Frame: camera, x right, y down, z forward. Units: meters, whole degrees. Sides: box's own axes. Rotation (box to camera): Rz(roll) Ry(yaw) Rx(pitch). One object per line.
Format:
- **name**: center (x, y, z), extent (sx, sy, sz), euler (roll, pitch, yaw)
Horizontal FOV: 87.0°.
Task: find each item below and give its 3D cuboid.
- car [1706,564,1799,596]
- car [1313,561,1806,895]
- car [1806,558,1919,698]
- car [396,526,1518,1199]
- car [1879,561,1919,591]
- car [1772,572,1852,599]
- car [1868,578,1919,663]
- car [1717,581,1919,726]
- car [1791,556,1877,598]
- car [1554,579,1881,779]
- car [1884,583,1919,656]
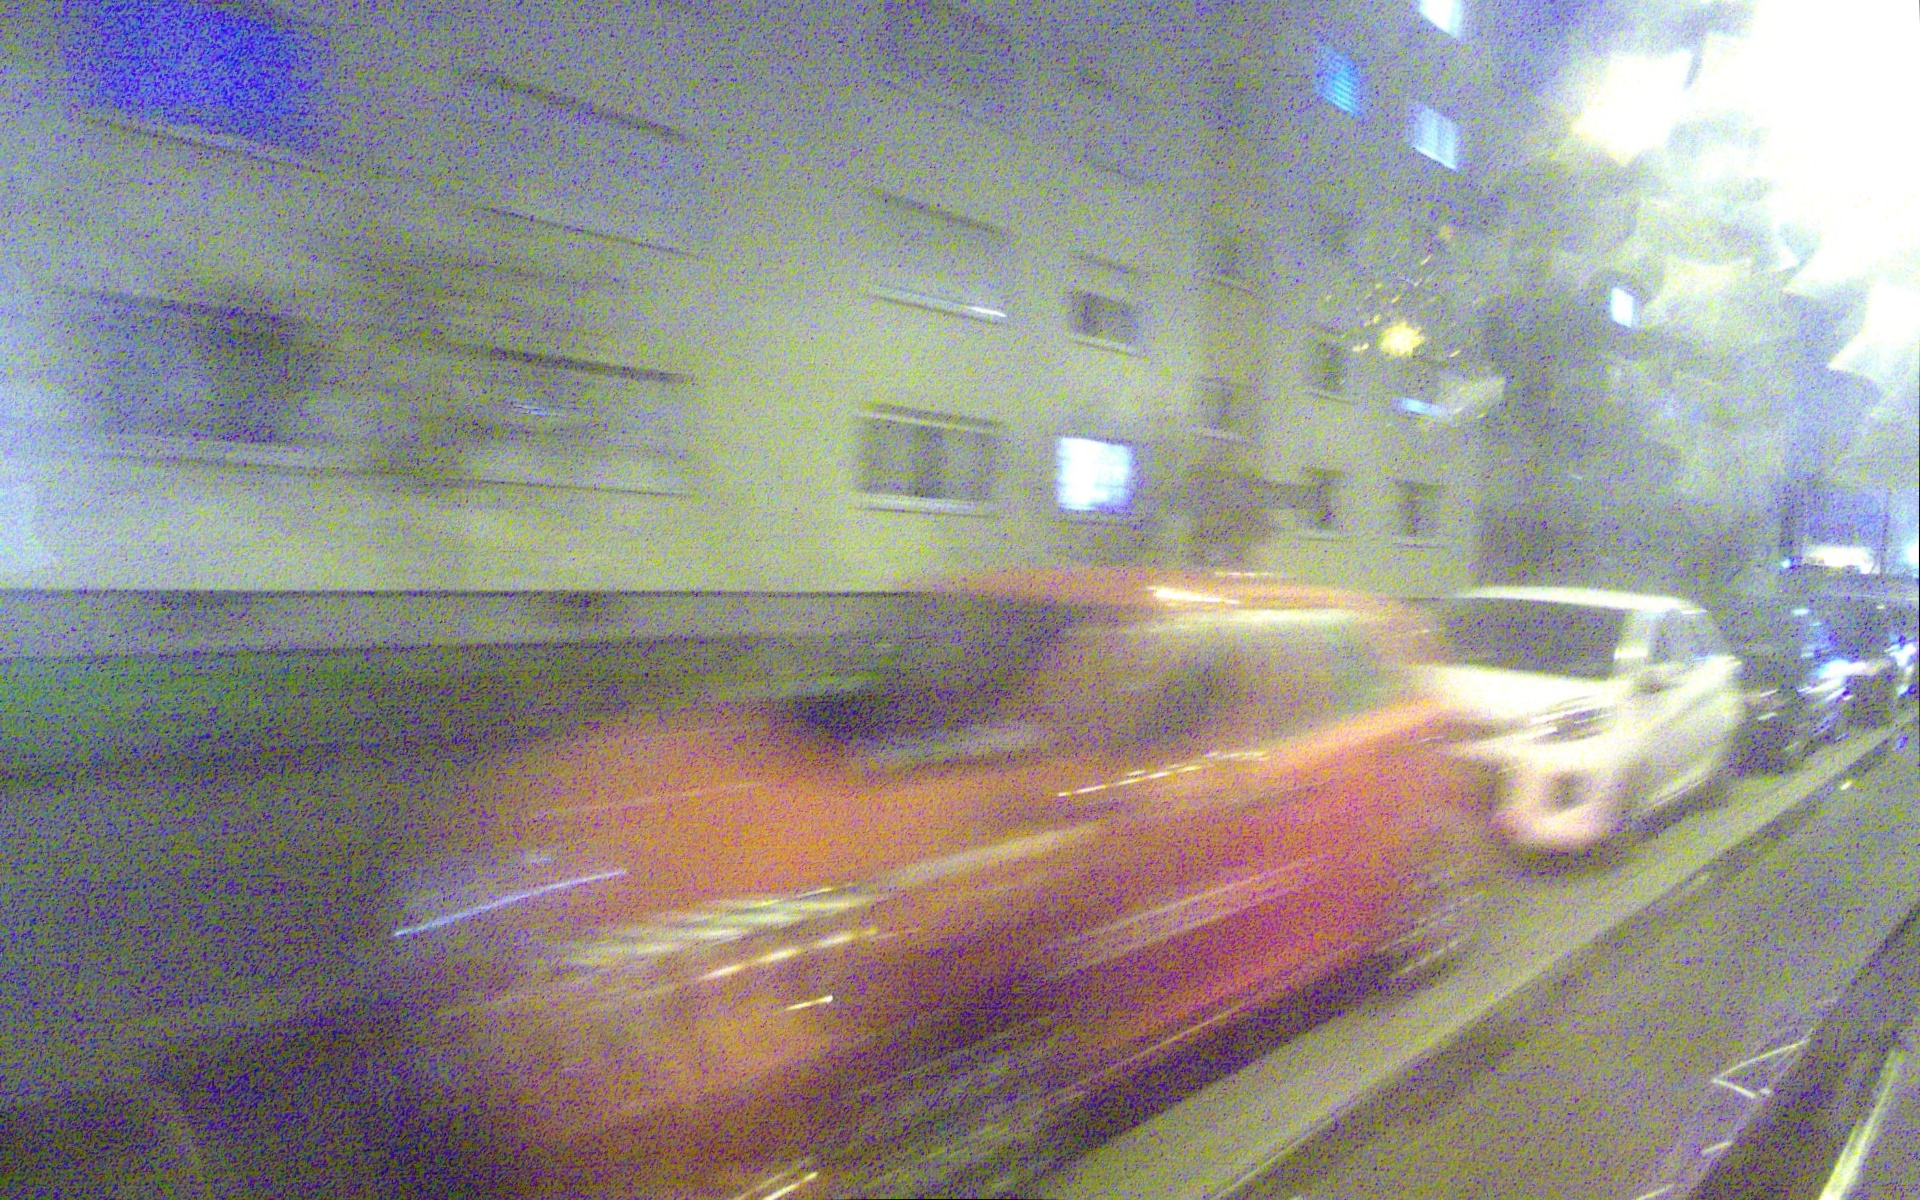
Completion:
- **car**: center (47.849, -1.218, 61.153), extent (1.635, 1.727, 4.095), euler (1, 3, -37)
- **car**: center (4.215, 0.572, 6.784), extent (4.207, 1.505, 1.677), euler (0, 4, -43)
- **car**: center (15.737, 0.392, 16.904), extent (5.758, 1.973, 1.797), euler (0, 4, -44)
- **car**: center (0.357, 0.516, 3.278), extent (3.567, 1.322, 1.458), euler (0, 4, -43)
- **car**: center (74.814, -1.825, 79.107), extent (1.767, 2.195, 4.031), euler (1, 3, -34)
- **car**: center (54.519, -0.932, 64.777), extent (1.637, 1.474, 3.663), euler (0, 4, -40)
- **car**: center (19.734, 0.412, 20.404), extent (3.886, 1.566, 1.797), euler (0, 4, -44)
- **car**: center (11.486, 0.574, 13.286), extent (4.061, 1.509, 1.797), euler (0, 4, -44)
- **car**: center (60.026, -1.604, 69.593), extent (1.767, 2.650, 4.031), euler (1, 3, -34)
- **car**: center (7.553, 0.594, 9.925), extent (4.207, 1.464, 1.798), euler (0, 4, -43)
- **car**: center (23.514, 0.464, 24.116), extent (4.669, 1.598, 1.870), euler (0, 4, -44)
